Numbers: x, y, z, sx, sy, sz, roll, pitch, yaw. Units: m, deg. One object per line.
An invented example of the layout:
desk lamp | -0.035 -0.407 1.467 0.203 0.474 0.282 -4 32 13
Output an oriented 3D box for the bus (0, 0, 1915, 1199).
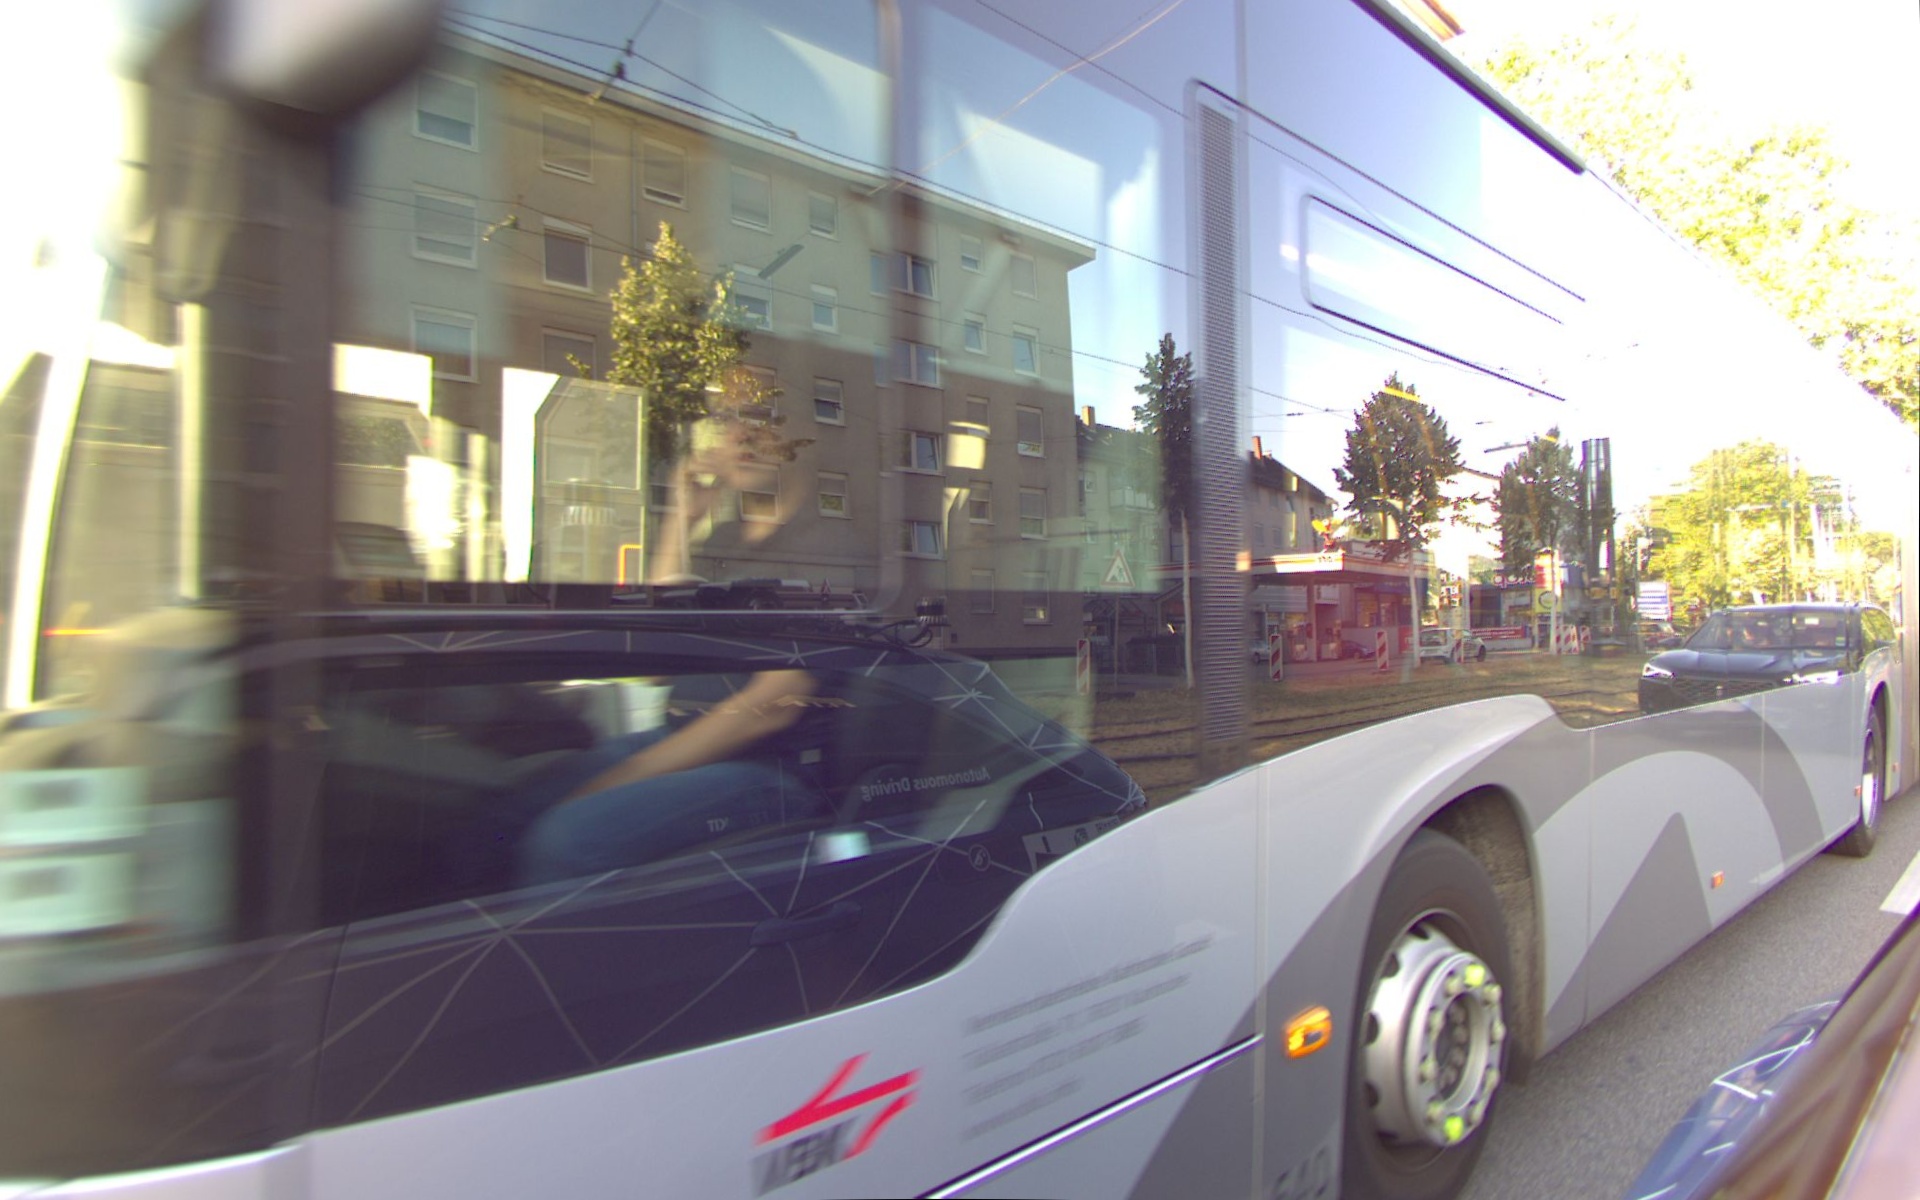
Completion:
bus | 1.563 -0.127 4.295 8.970 3.095 2.743 0 0 -41

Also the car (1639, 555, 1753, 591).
car | 35.443 -1.284 48.819 1.770 1.570 4.120 1 -1 -39

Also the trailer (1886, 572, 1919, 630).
trailer | 44.922 0.054 47.288 4.569 2.620 1.889 0 1 -41

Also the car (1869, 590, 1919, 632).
car | 40.116 0.462 42.930 3.930 1.650 1.799 1 2 -41

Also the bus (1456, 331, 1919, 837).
bus | 8.219 -0.088 10.083 8.698 3.095 2.743 0 0 -41
